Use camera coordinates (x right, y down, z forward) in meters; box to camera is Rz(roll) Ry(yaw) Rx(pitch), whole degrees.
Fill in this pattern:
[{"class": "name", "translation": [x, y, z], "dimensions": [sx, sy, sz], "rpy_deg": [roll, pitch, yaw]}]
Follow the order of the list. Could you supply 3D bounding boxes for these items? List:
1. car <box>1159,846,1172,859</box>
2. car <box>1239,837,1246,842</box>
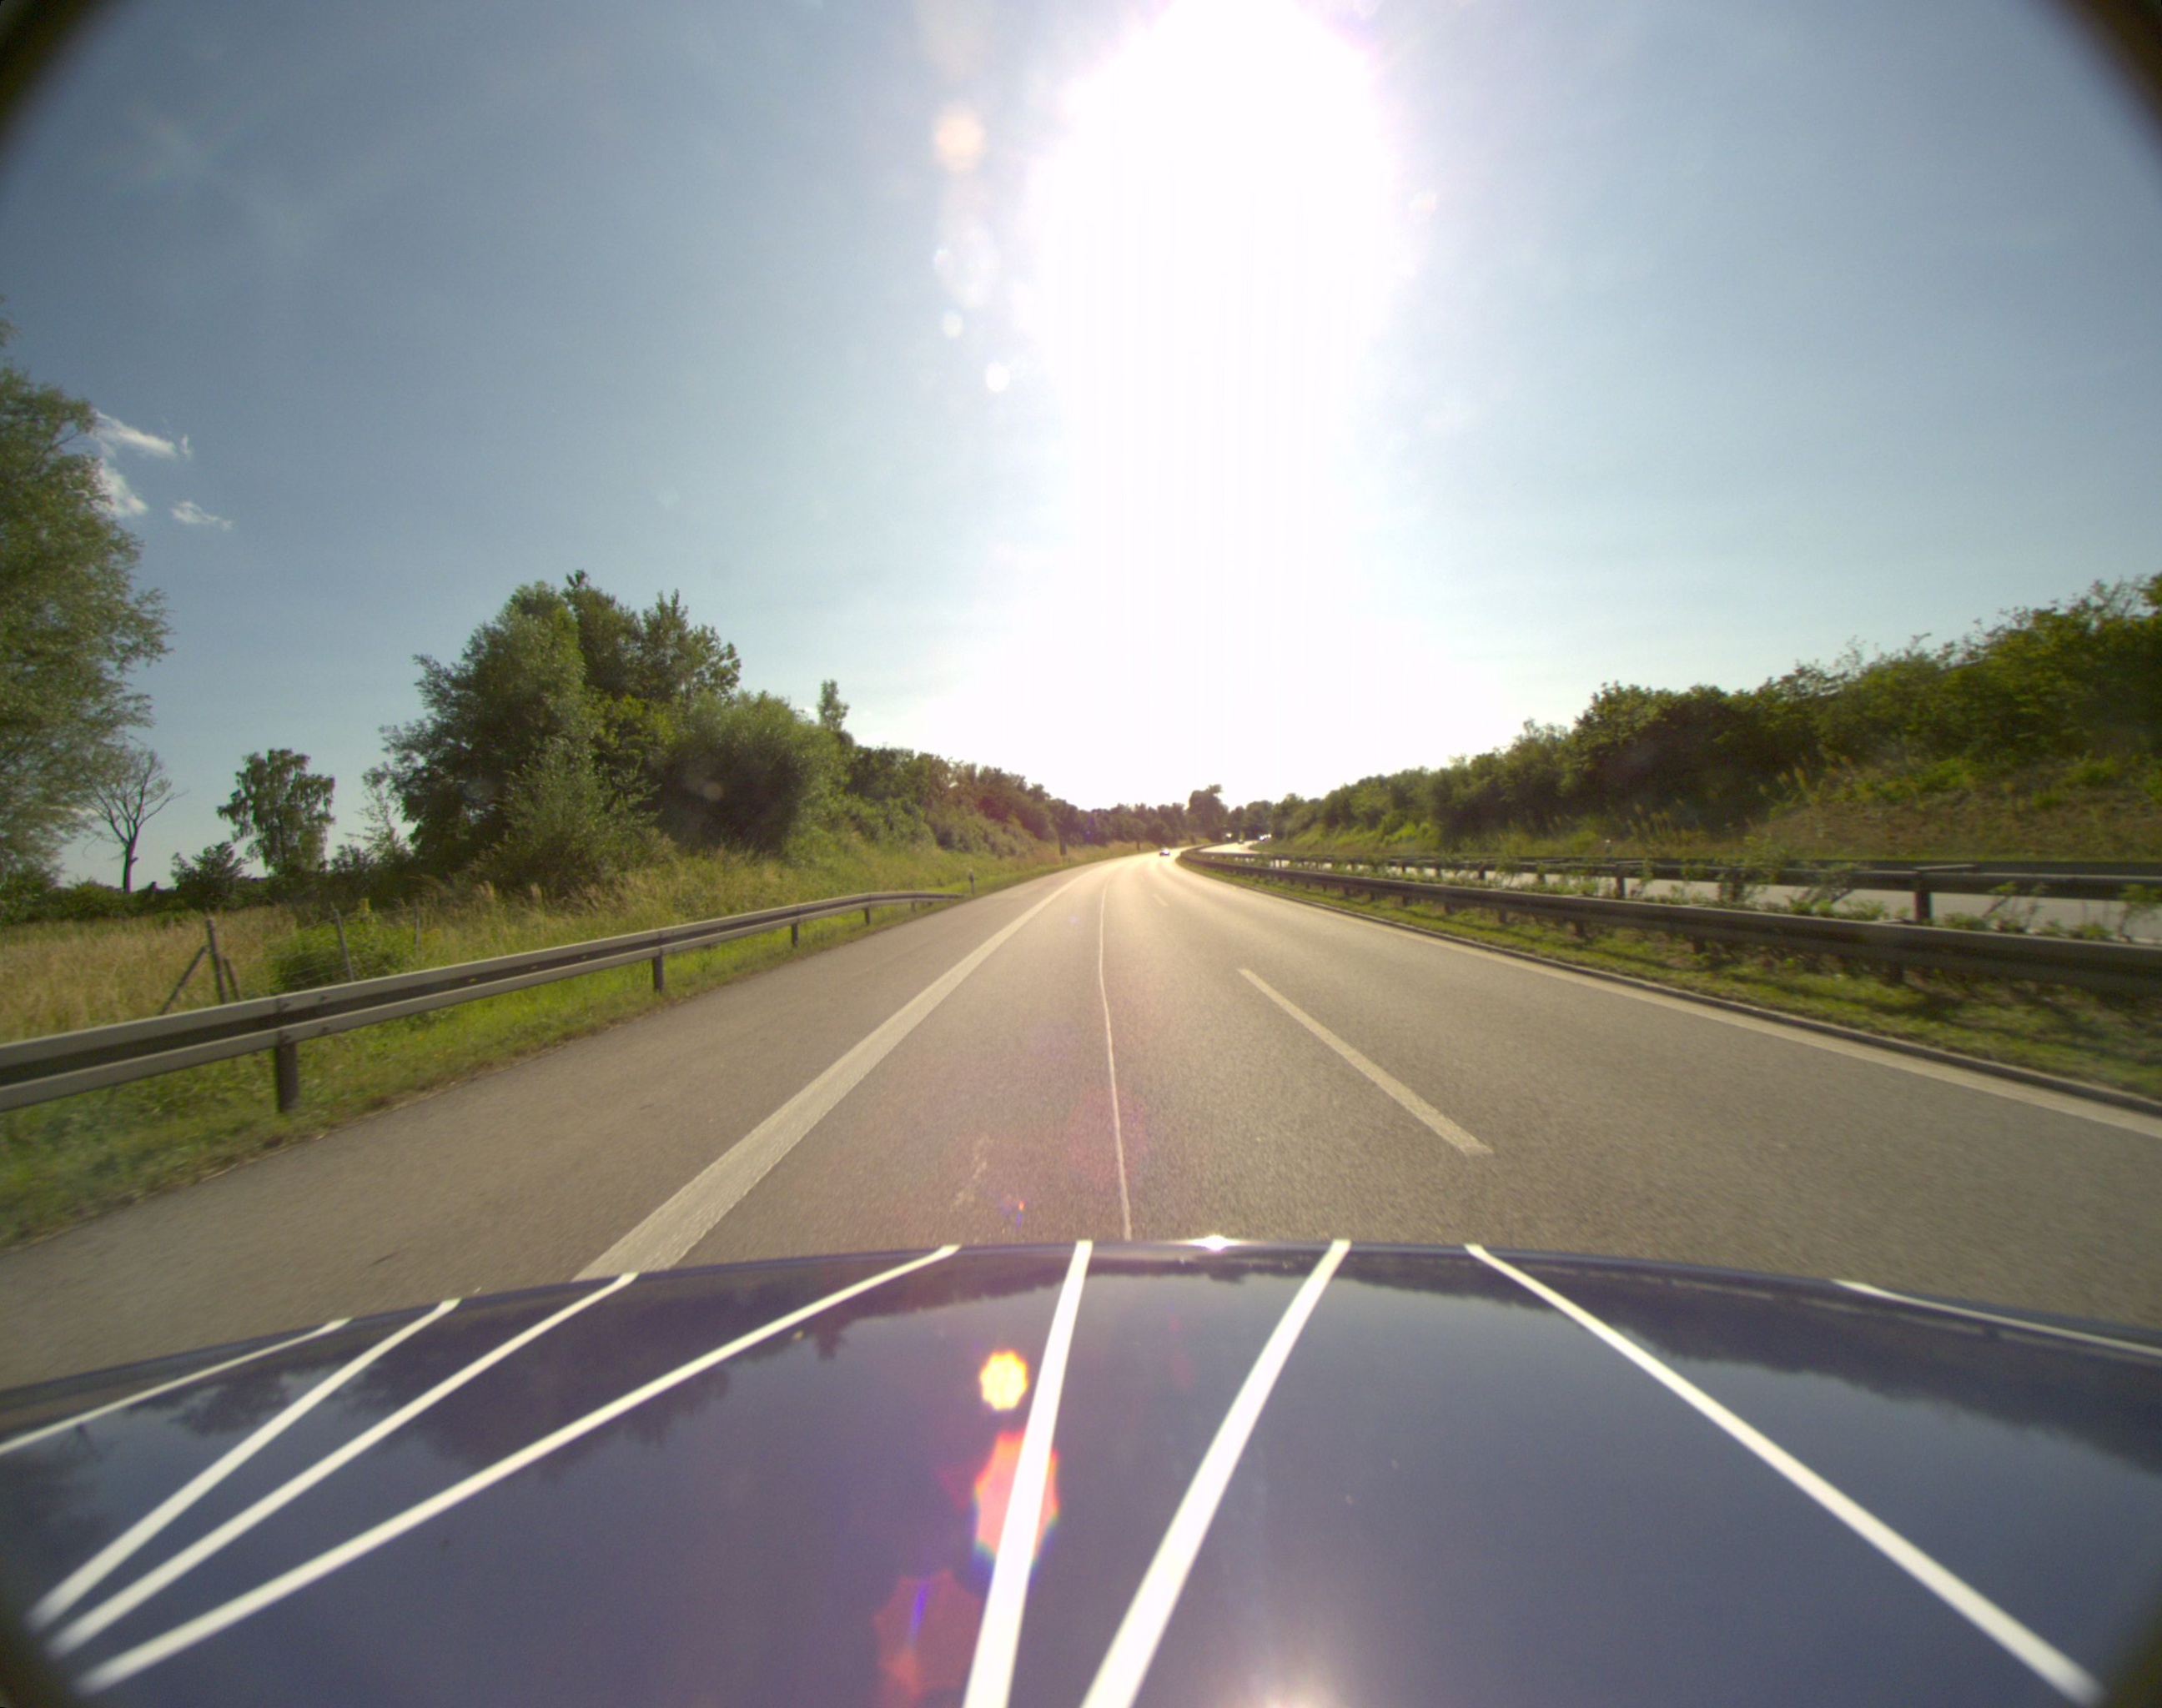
[{"class": "car", "translation": [15.344, -0.275, 137.631], "dimensions": [1.997, 2.002, 4.602], "rpy_deg": [-4, 1, 9]}, {"class": "car", "translation": [52.299, -4.607, 245.643], "dimensions": [1.903, 1.414, 4.400], "rpy_deg": [-1, 1, 8]}]
